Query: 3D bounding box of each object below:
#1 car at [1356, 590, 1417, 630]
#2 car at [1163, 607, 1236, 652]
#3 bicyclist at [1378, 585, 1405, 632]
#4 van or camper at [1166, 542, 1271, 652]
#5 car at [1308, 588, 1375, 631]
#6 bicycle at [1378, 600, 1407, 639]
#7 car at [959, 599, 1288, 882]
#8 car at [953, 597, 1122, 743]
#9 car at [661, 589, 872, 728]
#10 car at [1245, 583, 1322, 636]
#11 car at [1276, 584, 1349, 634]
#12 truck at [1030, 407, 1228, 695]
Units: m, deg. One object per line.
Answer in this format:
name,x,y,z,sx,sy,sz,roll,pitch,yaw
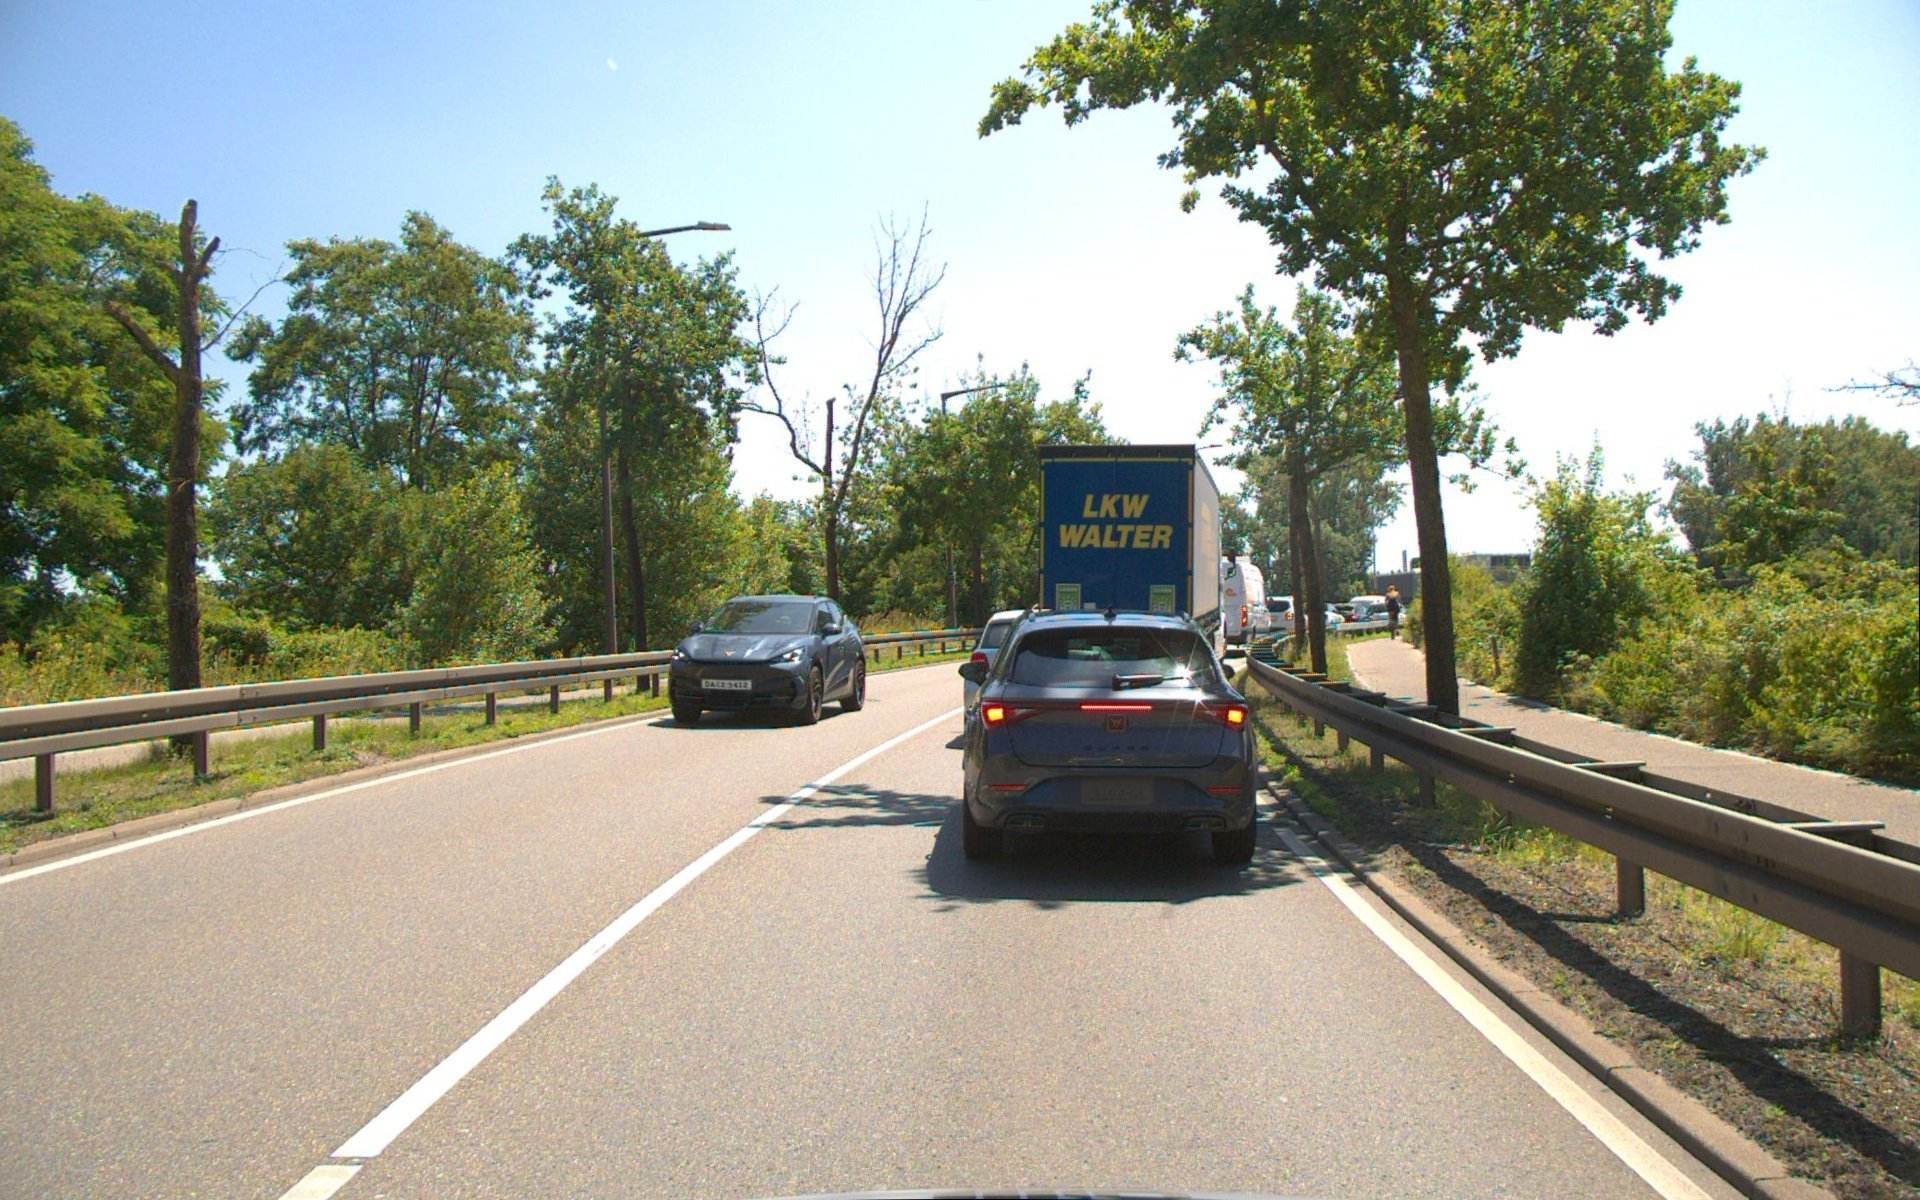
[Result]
car,19.864,0.474,76.901,1.953,1.799,4.752,0,0,24
car,9.272,1.107,63.795,1.831,1.631,4.393,1,1,21
bicyclist,14.451,0.272,55.340,0.842,1.550,0.981,0,0,16
van or camper,7.787,-0.071,49.301,2.414,3.051,6.090,0,0,15
car,16.327,0.417,70.641,1.953,1.747,4.866,0,0,24
bicycle,14.481,0.641,55.361,0.842,1.258,2.311,0,0,17
car,0.911,0.741,10.584,1.708,1.457,3.881,0,0,2
car,1.016,0.748,19.570,1.771,1.534,4.003,0,0,6
car,-2.447,0.685,22.059,1.829,1.631,4.396,1,1,6
car,11.341,0.326,57.752,1.952,1.742,4.621,0,0,20
car,13.696,0.353,64.016,1.953,1.840,4.844,0,0,22
truck,4.024,-0.741,34.590,2.887,4.527,16.812,0,0,10
